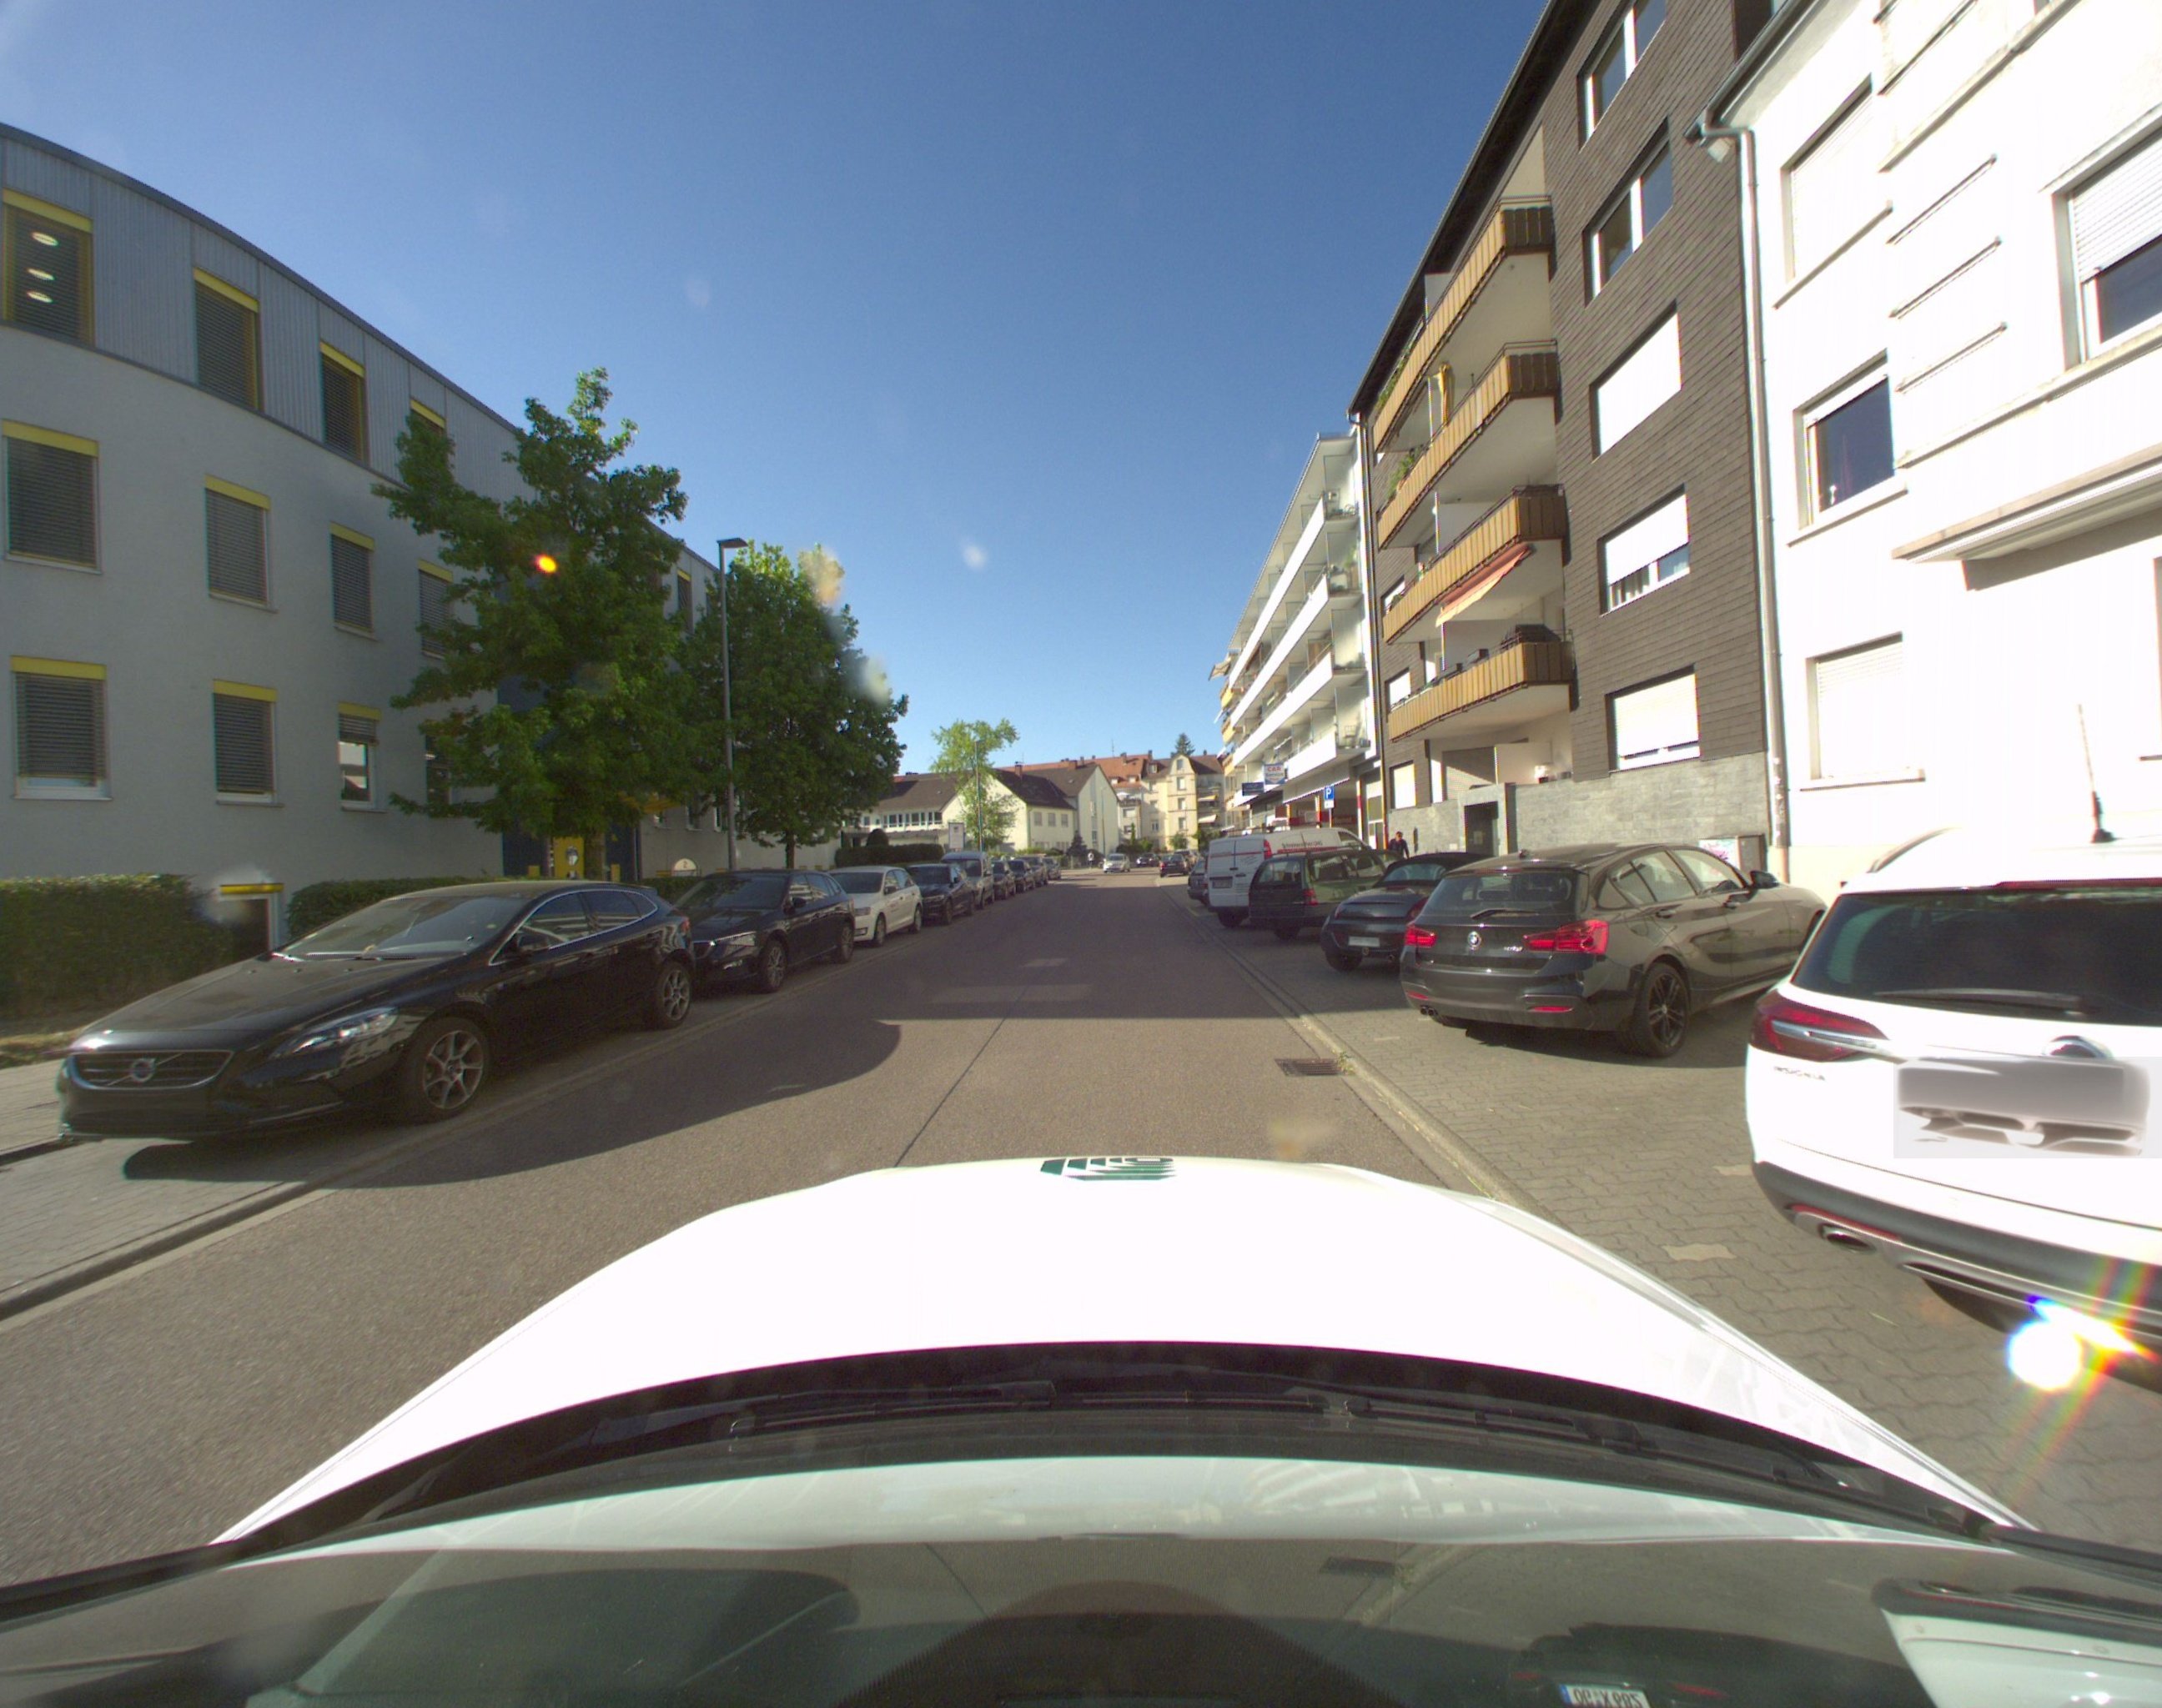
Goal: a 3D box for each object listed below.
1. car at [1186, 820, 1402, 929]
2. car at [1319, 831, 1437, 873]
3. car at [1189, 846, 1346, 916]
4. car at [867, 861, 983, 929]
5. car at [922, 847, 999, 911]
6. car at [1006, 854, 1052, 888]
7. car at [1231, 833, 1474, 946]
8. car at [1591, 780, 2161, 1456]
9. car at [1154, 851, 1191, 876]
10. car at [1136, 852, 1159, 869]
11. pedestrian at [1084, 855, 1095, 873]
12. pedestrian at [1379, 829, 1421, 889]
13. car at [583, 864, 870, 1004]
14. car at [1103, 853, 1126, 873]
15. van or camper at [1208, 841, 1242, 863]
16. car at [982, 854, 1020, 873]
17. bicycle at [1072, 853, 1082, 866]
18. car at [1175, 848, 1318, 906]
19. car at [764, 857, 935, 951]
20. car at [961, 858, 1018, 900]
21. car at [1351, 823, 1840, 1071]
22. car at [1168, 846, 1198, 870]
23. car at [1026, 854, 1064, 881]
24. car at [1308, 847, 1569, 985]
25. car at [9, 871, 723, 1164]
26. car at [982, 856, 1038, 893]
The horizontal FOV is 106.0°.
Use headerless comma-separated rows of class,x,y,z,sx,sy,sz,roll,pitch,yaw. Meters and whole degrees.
car,4.662,0.399,17.522,4.553,1.898,2.026,-4,-2,-38
car,12.861,-0.076,35.497,4.373,1.512,1.980,-4,-1,2
car,4.919,0.654,21.163,4.351,1.512,1.735,-3,-1,-42
car,-3.867,0.963,21.020,1.724,1.439,4.617,-2,0,5
car,-3.769,0.731,26.113,1.682,1.838,4.342,-2,0,1
car,-2.644,0.824,42.382,1.712,1.586,4.427,-2,0,4
car,4.738,0.568,14.081,4.009,1.489,1.601,-5,-2,-29
car,4.407,0.483,3.352,4.892,1.463,1.953,-5,1,-33
car,6.005,0.581,52.862,1.958,1.450,5.018,-2,-1,11
car,6.751,0.666,82.275,1.729,1.513,3.741,-5,-3,11
pedestrian,0.824,0.954,79.336,0.676,1.703,0.829,-3,-3,24
pedestrian,8.972,0.136,22.921,0.828,1.593,0.891,-3,-1,8
car,-4.521,0.921,11.259,1.901,1.479,4.381,-2,-1,1
car,2.821,0.732,67.650,1.718,1.485,4.111,-2,0,4
van or camper,14.488,-0.236,81.882,2.002,1.947,4.731,-5,-1,26
car,-6.851,0.814,69.917,1.783,1.556,3.207,-3,-3,26
bicycle,-0.411,0.562,81.619,0.453,1.250,1.935,-3,-3,15
car,5.126,0.673,24.843,4.671,1.466,1.671,-3,-2,-40
car,-4.357,0.877,16.162,1.901,1.530,4.626,-2,-1,1
car,-3.418,0.912,31.024,1.592,1.440,4.000,-2,0,1
car,4.492,0.587,6.970,4.186,1.497,1.804,-2,-2,-31
car,8.080,0.333,64.169,1.804,1.653,4.576,-3,-2,13
car,-2.248,0.794,52.166,1.986,1.534,4.921,-2,0,2
car,4.593,0.671,10.311,3.413,1.388,1.523,-2,0,-37
car,-4.719,0.909,6.418,1.782,1.410,4.225,-2,0,1
car,-3.098,0.880,36.447,1.718,1.465,4.444,-2,0,4
